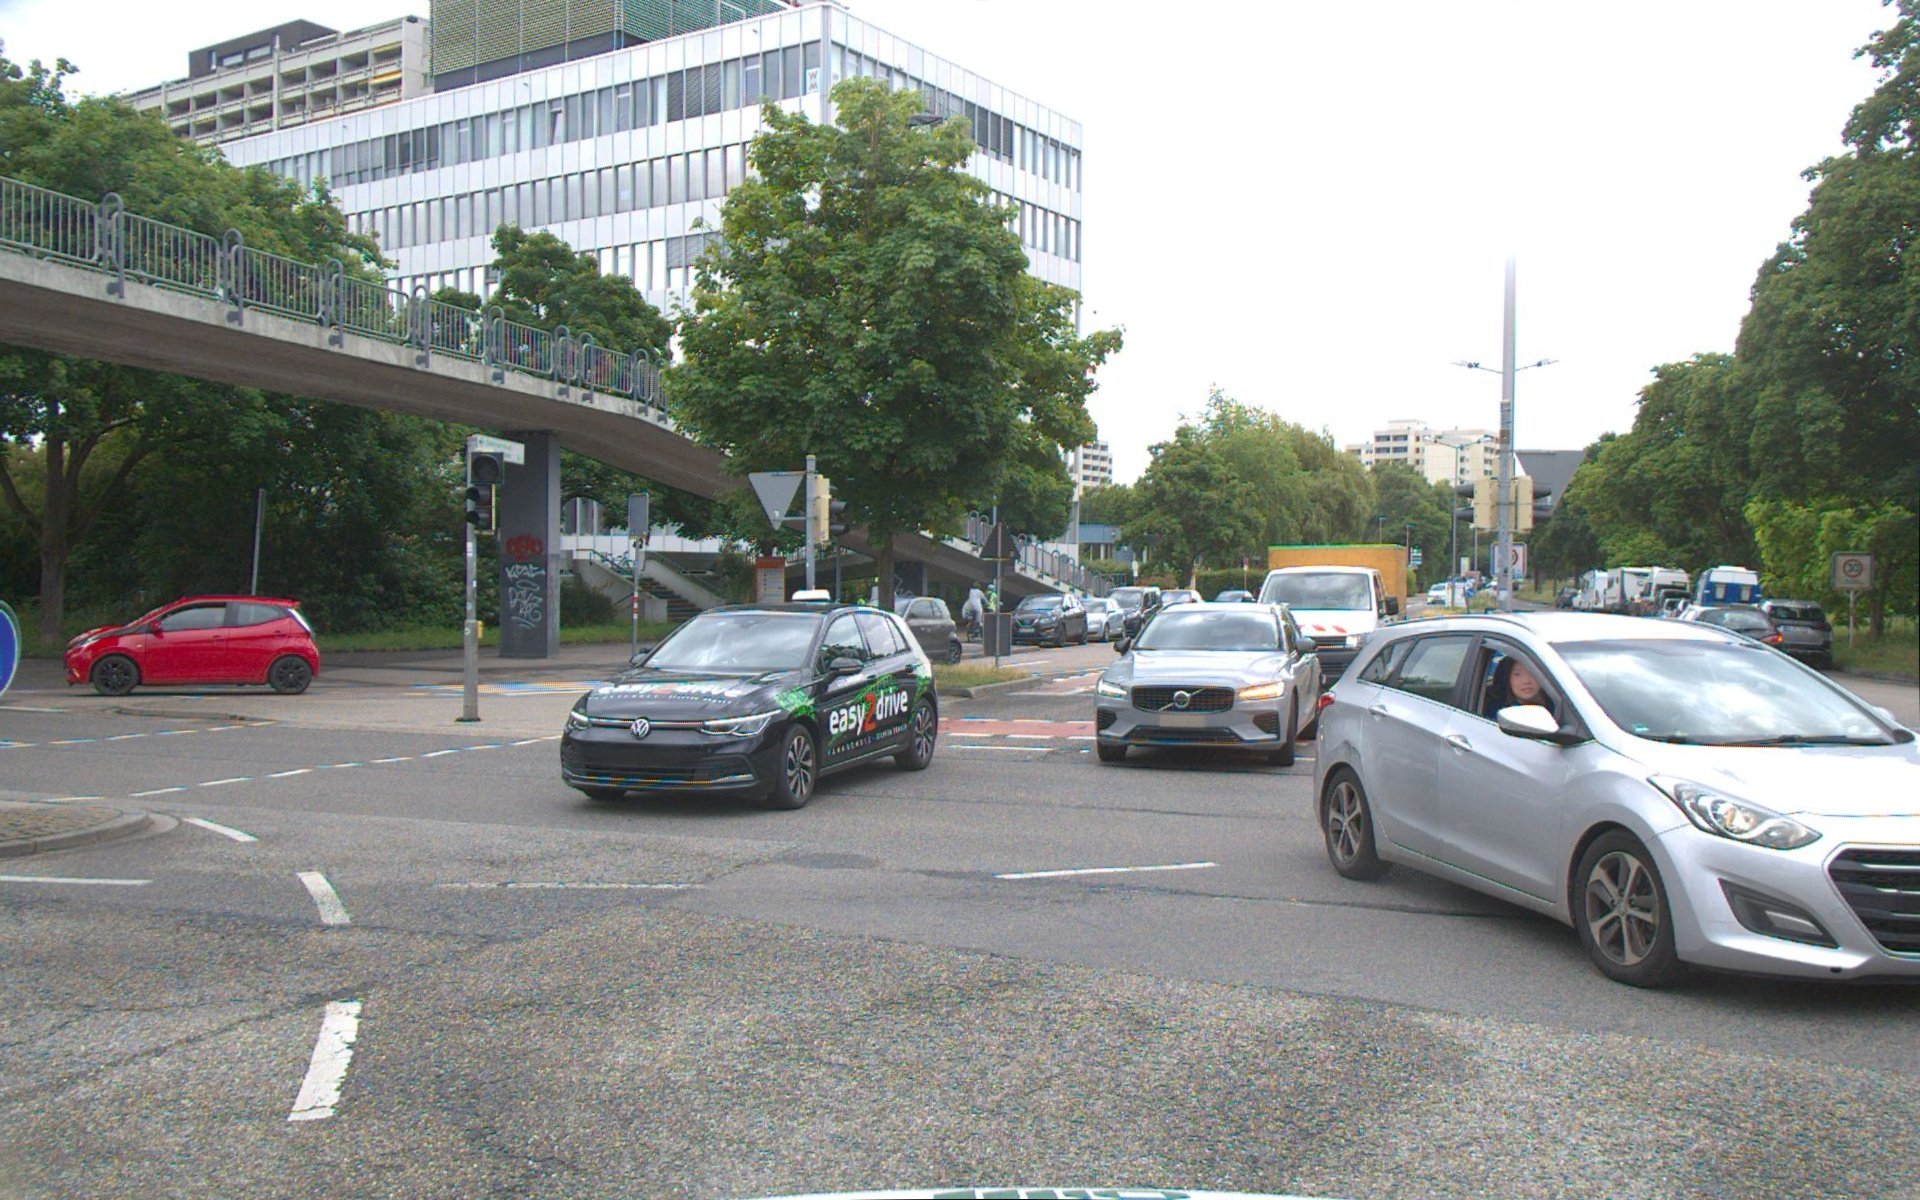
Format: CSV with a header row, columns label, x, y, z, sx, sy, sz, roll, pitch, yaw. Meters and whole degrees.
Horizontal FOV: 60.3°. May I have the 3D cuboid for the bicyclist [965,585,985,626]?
label,x,y,z,sx,sy,sz,roll,pitch,yaw
bicyclist,0.463,0.169,50.144,0.397,1.201,0.377,7,3,19

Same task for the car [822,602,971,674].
label,x,y,z,sx,sy,sz,roll,pitch,yaw
car,-1.268,0.745,33.884,1.533,1.369,2.960,1,1,37

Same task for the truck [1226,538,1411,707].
label,x,y,z,sx,sy,sz,roll,pitch,yaw
truck,5.560,0.259,25.022,2.110,2.237,5.843,1,1,18

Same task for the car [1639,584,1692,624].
label,x,y,z,sx,sy,sz,roll,pitch,yaw
car,32.324,0.159,75.824,1.683,1.790,4.003,1,0,15

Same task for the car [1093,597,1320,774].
label,x,y,z,sx,sy,sz,roll,pitch,yaw
car,2.603,0.719,16.497,1.856,1.445,4.740,1,1,13

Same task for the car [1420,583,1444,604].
label,x,y,z,sx,sy,sz,roll,pitch,yaw
car,37.726,-0.530,132.185,1.610,1.621,4.002,1,1,19

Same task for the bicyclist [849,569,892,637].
label,x,y,z,sx,sy,sz,roll,pitch,yaw
bicyclist,-2.551,0.069,47.273,0.838,1.926,1.128,1,1,19

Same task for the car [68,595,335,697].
label,x,y,z,sx,sy,sz,roll,pitch,yaw
car,-11.181,0.648,24.505,3.478,1.414,1.504,1,0,-26

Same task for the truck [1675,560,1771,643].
label,x,y,z,sx,sy,sz,roll,pitch,yaw
truck,26.192,0.060,56.997,2.129,2.703,6.250,0,0,17

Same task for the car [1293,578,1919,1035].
label,x,y,z,sx,sy,sz,roll,pitch,yaw
car,3.284,0.723,7.907,1.758,1.546,4.311,0,-1,-12

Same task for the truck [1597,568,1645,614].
label,x,y,z,sx,sy,sz,roll,pitch,yaw
truck,38.565,-0.523,96.551,1.951,2.617,5.382,1,0,15

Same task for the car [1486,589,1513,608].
label,x,y,z,sx,sy,sz,roll,pitch,yaw
car,43.887,-0.136,134.519,1.978,1.531,4.003,1,1,17

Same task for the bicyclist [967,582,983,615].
label,x,y,z,sx,sy,sz,roll,pitch,yaw
bicyclist,0.561,-0.064,61.747,0.422,1.239,0.568,1,-1,16

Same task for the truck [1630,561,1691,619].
label,x,y,z,sx,sy,sz,roll,pitch,yaw
truck,35.836,-0.528,84.744,1.951,2.887,5.736,1,0,13

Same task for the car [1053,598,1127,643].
label,x,y,z,sx,sy,sz,roll,pitch,yaw
car,4.424,0.661,55.935,1.636,1.411,3.897,1,1,18

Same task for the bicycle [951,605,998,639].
label,x,y,z,sx,sy,sz,roll,pitch,yaw
bicycle,0.459,0.664,50.513,0.747,0.965,1.953,1,1,23

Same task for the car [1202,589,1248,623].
label,x,y,z,sx,sy,sz,roll,pitch,yaw
car,12.868,0.273,80.179,1.636,1.579,4.002,1,1,18

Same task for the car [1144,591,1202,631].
label,x,y,z,sx,sy,sz,roll,pitch,yaw
car,8.762,0.423,67.750,1.636,1.579,4.002,1,1,18

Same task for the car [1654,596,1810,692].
label,x,y,z,sx,sy,sz,roll,pitch,yaw
car,13.465,0.704,29.089,1.759,1.482,4.544,1,1,16

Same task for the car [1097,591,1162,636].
label,x,y,z,sx,sy,sz,roll,pitch,yaw
car,6.262,0.461,60.944,1.636,1.579,3.764,1,1,18

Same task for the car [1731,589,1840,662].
label,x,y,z,sx,sy,sz,roll,pitch,yaw
car,20.476,0.591,41.177,1.746,1.691,4.003,1,1,17

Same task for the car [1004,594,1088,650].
label,x,y,z,sx,sy,sz,roll,pitch,yaw
car,2.687,0.638,50.717,1.636,1.579,3.894,1,1,18

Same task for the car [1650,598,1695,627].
label,x,y,z,sx,sy,sz,roll,pitch,yaw
car,30.955,0.534,71.915,1.296,1.211,3.656,1,1,15

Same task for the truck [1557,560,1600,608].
label,x,y,z,sx,sy,sz,roll,pitch,yaw
truck,40.126,-1.020,107.384,1.951,3.061,5.776,1,0,14

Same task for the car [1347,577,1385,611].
label,x,y,z,sx,sy,sz,roll,pitch,yaw
car,24.715,-0.369,100.690,1.952,2.049,4.002,1,1,18

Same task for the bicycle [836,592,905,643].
label,x,y,z,sx,sy,sz,roll,pitch,yaw
bicycle,-2.531,0.483,47.298,0.838,1.338,3.231,1,1,19

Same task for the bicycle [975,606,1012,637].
label,x,y,z,sx,sy,sz,roll,pitch,yaw
bicycle,1.095,0.690,54.188,0.516,0.965,1.707,1,1,27

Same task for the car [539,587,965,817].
label,x,y,z,sx,sy,sz,roll,pitch,yaw
car,-1.430,0.653,13.271,1.733,1.503,4.392,1,1,17

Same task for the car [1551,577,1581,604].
label,x,y,z,sx,sy,sz,roll,pitch,yaw
car,44.956,-0.719,122.767,1.616,1.951,3.922,1,1,13

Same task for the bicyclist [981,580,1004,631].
label,x,y,z,sx,sy,sz,roll,pitch,yaw
bicyclist,1.069,0.181,54.041,0.554,1.673,0.531,0,0,28
